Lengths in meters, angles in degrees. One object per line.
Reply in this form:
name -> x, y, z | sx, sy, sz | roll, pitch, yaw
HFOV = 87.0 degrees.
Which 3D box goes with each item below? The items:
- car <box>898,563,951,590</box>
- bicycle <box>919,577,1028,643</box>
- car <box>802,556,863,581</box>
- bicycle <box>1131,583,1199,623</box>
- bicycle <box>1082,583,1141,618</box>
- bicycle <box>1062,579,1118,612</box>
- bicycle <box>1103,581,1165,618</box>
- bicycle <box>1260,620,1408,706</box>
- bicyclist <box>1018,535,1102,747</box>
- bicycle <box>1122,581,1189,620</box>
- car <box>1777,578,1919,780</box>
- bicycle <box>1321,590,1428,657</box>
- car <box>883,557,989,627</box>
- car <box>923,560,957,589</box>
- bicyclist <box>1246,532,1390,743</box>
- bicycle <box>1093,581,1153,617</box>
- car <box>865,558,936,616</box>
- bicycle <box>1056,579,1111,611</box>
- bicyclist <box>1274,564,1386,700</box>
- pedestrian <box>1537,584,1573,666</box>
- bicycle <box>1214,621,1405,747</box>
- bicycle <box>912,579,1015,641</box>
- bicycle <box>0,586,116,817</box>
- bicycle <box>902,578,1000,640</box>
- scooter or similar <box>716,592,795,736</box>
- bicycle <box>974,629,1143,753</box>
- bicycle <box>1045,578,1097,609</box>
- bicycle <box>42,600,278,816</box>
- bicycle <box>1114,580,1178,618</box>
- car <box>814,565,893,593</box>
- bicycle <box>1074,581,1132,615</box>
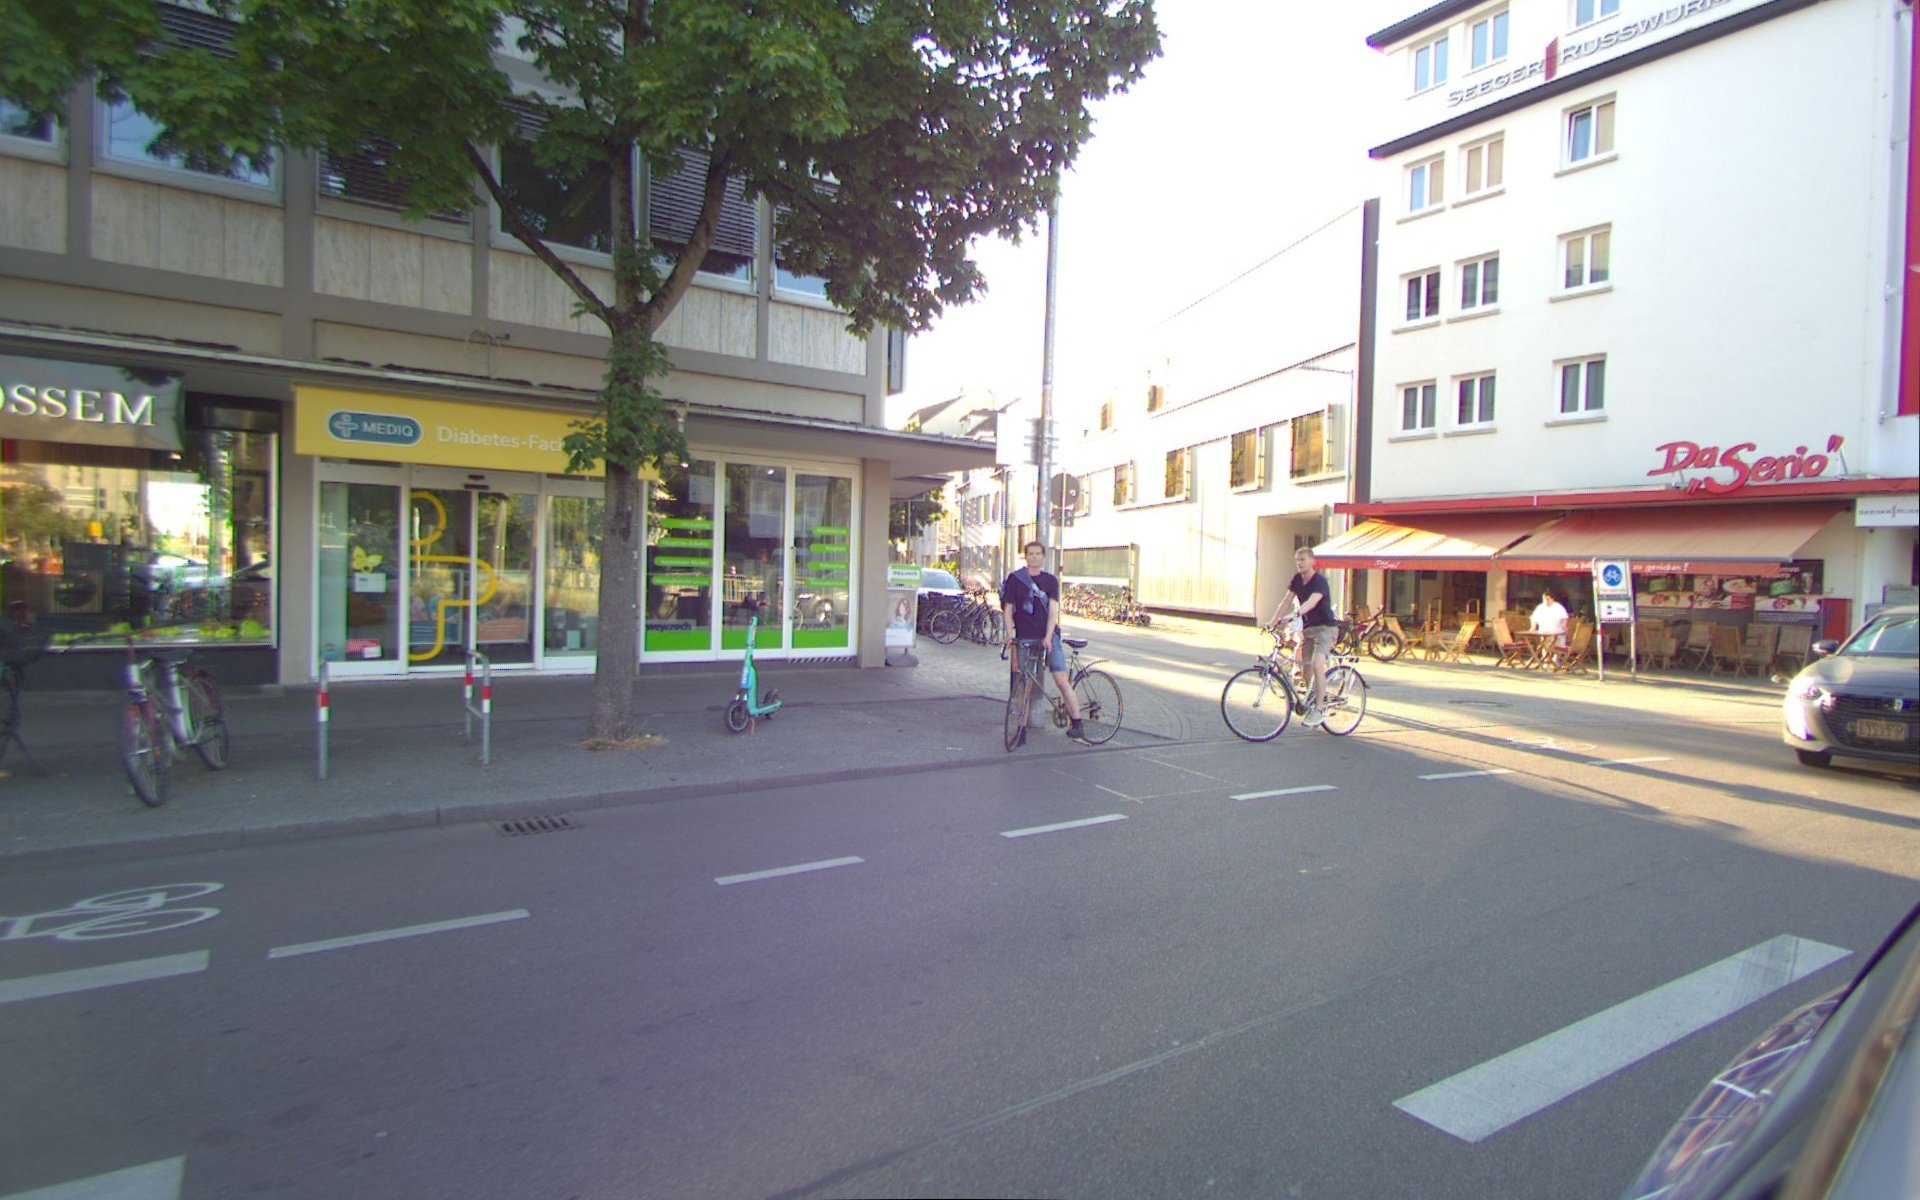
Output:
car -> -2.817, -1.855, 79.291 | 3.918, 2.039, 2.003 | 0, 0, -9
bicycle -> 0.265, 0.200, 20.797 | 2.069, 1.235, 0.706 | 3, 1, -12
car -> -9.254, -2.275, 73.341 | 3.927, 1.627, 1.999 | 0, 2, -39
bicycle -> 6.879, 0.084, 34.004 | 2.069, 1.235, 0.706 | 3, 1, -12
bicycle -> 5.786, 0.003, 38.764 | 2.069, 1.235, 0.706 | 3, 1, -12
bicycle -> 5.256, -0.189, 41.002 | 2.069, 1.235, 0.706 | 3, 1, -12
bicycle -> 6.326, -0.029, 36.841 | 2.069, 1.235, 0.706 | 3, 1, -12
bicycle -> 4.690, 0.758, 12.872 | 0.823, 0.892, 2.017 | 1, 2, -11
bicyclist -> 0.911, 0.347, 9.196 | 0.550, 1.853, 0.465 | 1, 1, -43
bicycle -> 6.733, 0.013, 34.877 | 2.069, 1.235, 0.706 | 3, 1, -12
car -> 9.123, 0.622, 8.932 | 4.249, 1.541, 1.734 | 1, 1, -33
bicycle -> 8.967, 0.480, 21.982 | 0.690, 1.303, 2.115 | 1, 2, -31
car -> -0.734, -0.270, 27.515 | 1.854, 1.771, 4.010 | 0, 2, -17
car -> -1.484, -1.774, 71.958 | 1.959, 2.039, 4.264 | 0, 0, -7
bicyclist -> 3.540, 0.332, 10.002 | 1.095, 1.941, 0.840 | 1, 1, -39
bicycle -> 6.101, -0.036, 37.879 | 2.069, 1.235, 0.706 | 3, 1, -12
car -> -2.106, -0.494, 34.405 | 1.855, 1.771, 4.442 | 3, 1, -10
bicycle -> 5.084, -0.206, 41.749 | 2.069, 1.235, 0.706 | 3, 1, -12
bicyclist -> 4.687, 0.380, 12.887 | 0.823, 1.643, 1.117 | 1, 1, -11
pedestrian -> 11.643, 0.476, 19.809 | 0.569, 1.560, 0.566 | 2, 1, 31
bicycle -> 3.468, 0.767, 9.966 | 2.041, 1.032, 0.839 | 0, 3, -40
bicycle -> 0.075, 0.209, 21.901 | 2.069, 1.235, 0.706 | 3, 1, -12
bicycle -> -6.035, 0.568, 6.314 | 0.654, 1.251, 1.914 | 1, 2, -23
bicycle -> -0.212, 0.205, 23.116 | 2.069, 1.235, 0.706 | 4, 0, -12
scooter or similar -> -1.935, 0.568, 9.697 | 0.332, 1.250, 1.276 | 2, 1, 7
bicycle -> 0.933, 0.783, 9.237 | 1.770, 0.982, 0.465 | 0, 2, -43
bicycle -> 4.838, -0.298, 44.114 | 2.068, 1.235, 0.706 | 2, 1, -19
bicycle -> -5.137, 0.603, 6.653 | 0.654, 1.124, 2.008 | 1, 2, -22
bicycle -> 6.558, -0.041, 35.679 | 2.069, 1.235, 0.706 | 3, 1, -12
car -> -5.731, -1.125, 54.573 | 1.992, 1.449, 3.940 | 3, 2, 41
bicycle -> 5.623, -0.074, 39.766 | 2.069, 1.235, 0.706 | 3, 1, -12
